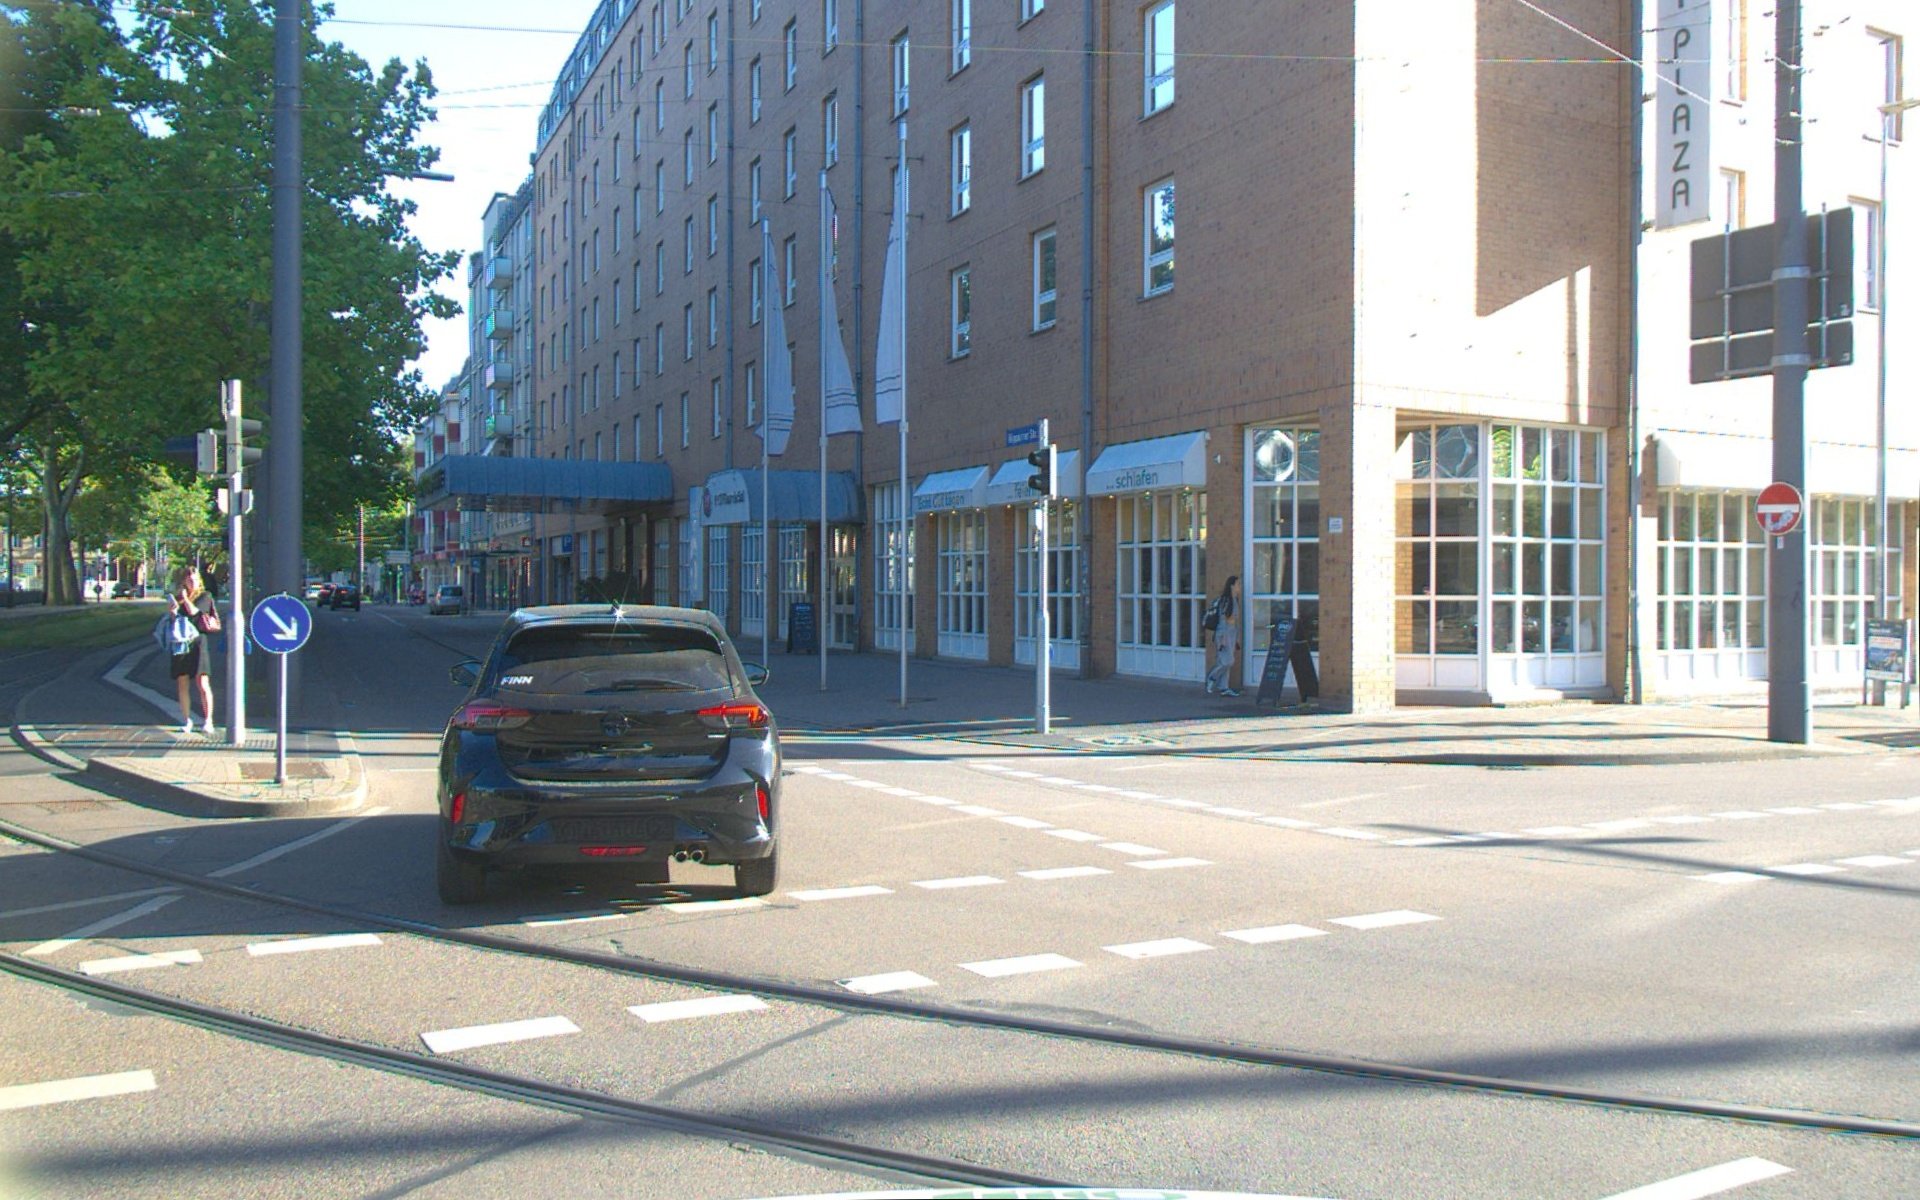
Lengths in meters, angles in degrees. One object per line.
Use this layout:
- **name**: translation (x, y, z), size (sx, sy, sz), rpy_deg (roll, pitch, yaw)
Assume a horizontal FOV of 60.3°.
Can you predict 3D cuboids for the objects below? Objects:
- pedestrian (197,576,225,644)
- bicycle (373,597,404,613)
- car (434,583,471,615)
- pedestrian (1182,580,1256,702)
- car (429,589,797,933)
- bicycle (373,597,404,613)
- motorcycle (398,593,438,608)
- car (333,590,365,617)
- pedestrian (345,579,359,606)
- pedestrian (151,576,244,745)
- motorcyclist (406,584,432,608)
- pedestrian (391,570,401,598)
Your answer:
- **pedestrian**: translation (-18.950, 0.248, 41.835), size (0.595, 1.709, 0.483), rpy_deg (-1, 0, -22)
- **bicycle**: translation (-46.098, 0.399, 133.440), size (2.321, 1.255, 0.680), rpy_deg (1, 0, -21)
- **car**: translation (-27.695, -0.091, 90.234), size (1.648, 1.681, 3.667), rpy_deg (1, 0, -21)
- **pedestrian**: translation (3.666, 0.563, 23.408), size (0.731, 1.695, 0.745), rpy_deg (0, 0, -31)
- **car**: translation (-1.879, 0.707, 9.357), size (1.641, 1.528, 3.682), rpy_deg (0, 0, -10)
- **bicycle**: translation (-45.522, 0.376, 131.738), size (2.321, 1.255, 0.680), rpy_deg (1, 0, -21)
- **motorcycle**: translation (-39.703, 0.021, 121.181), size (3.038, 1.077, 1.303), rpy_deg (1, 0, 38)
- **car**: translation (-36.203, 0.219, 97.971), size (1.591, 1.528, 3.665), rpy_deg (1, 0, -23)
- **pedestrian**: translation (-66.461, -0.790, 180.803), size (0.901, 2.922, 1.146), rpy_deg (0, 0, 35)
- **pedestrian**: translation (-7.962, 0.613, 17.300), size (0.702, 1.709, 0.828), rpy_deg (-1, 0, -14)
- **motorcyclist**: translation (-39.614, -0.316, 121.108), size (1.213, 1.727, 1.303), rpy_deg (1, 0, 38)
- **pedestrian**: translation (-59.877, -1.697, 175.518), size (0.904, 2.922, 1.142), rpy_deg (1, 0, -23)
